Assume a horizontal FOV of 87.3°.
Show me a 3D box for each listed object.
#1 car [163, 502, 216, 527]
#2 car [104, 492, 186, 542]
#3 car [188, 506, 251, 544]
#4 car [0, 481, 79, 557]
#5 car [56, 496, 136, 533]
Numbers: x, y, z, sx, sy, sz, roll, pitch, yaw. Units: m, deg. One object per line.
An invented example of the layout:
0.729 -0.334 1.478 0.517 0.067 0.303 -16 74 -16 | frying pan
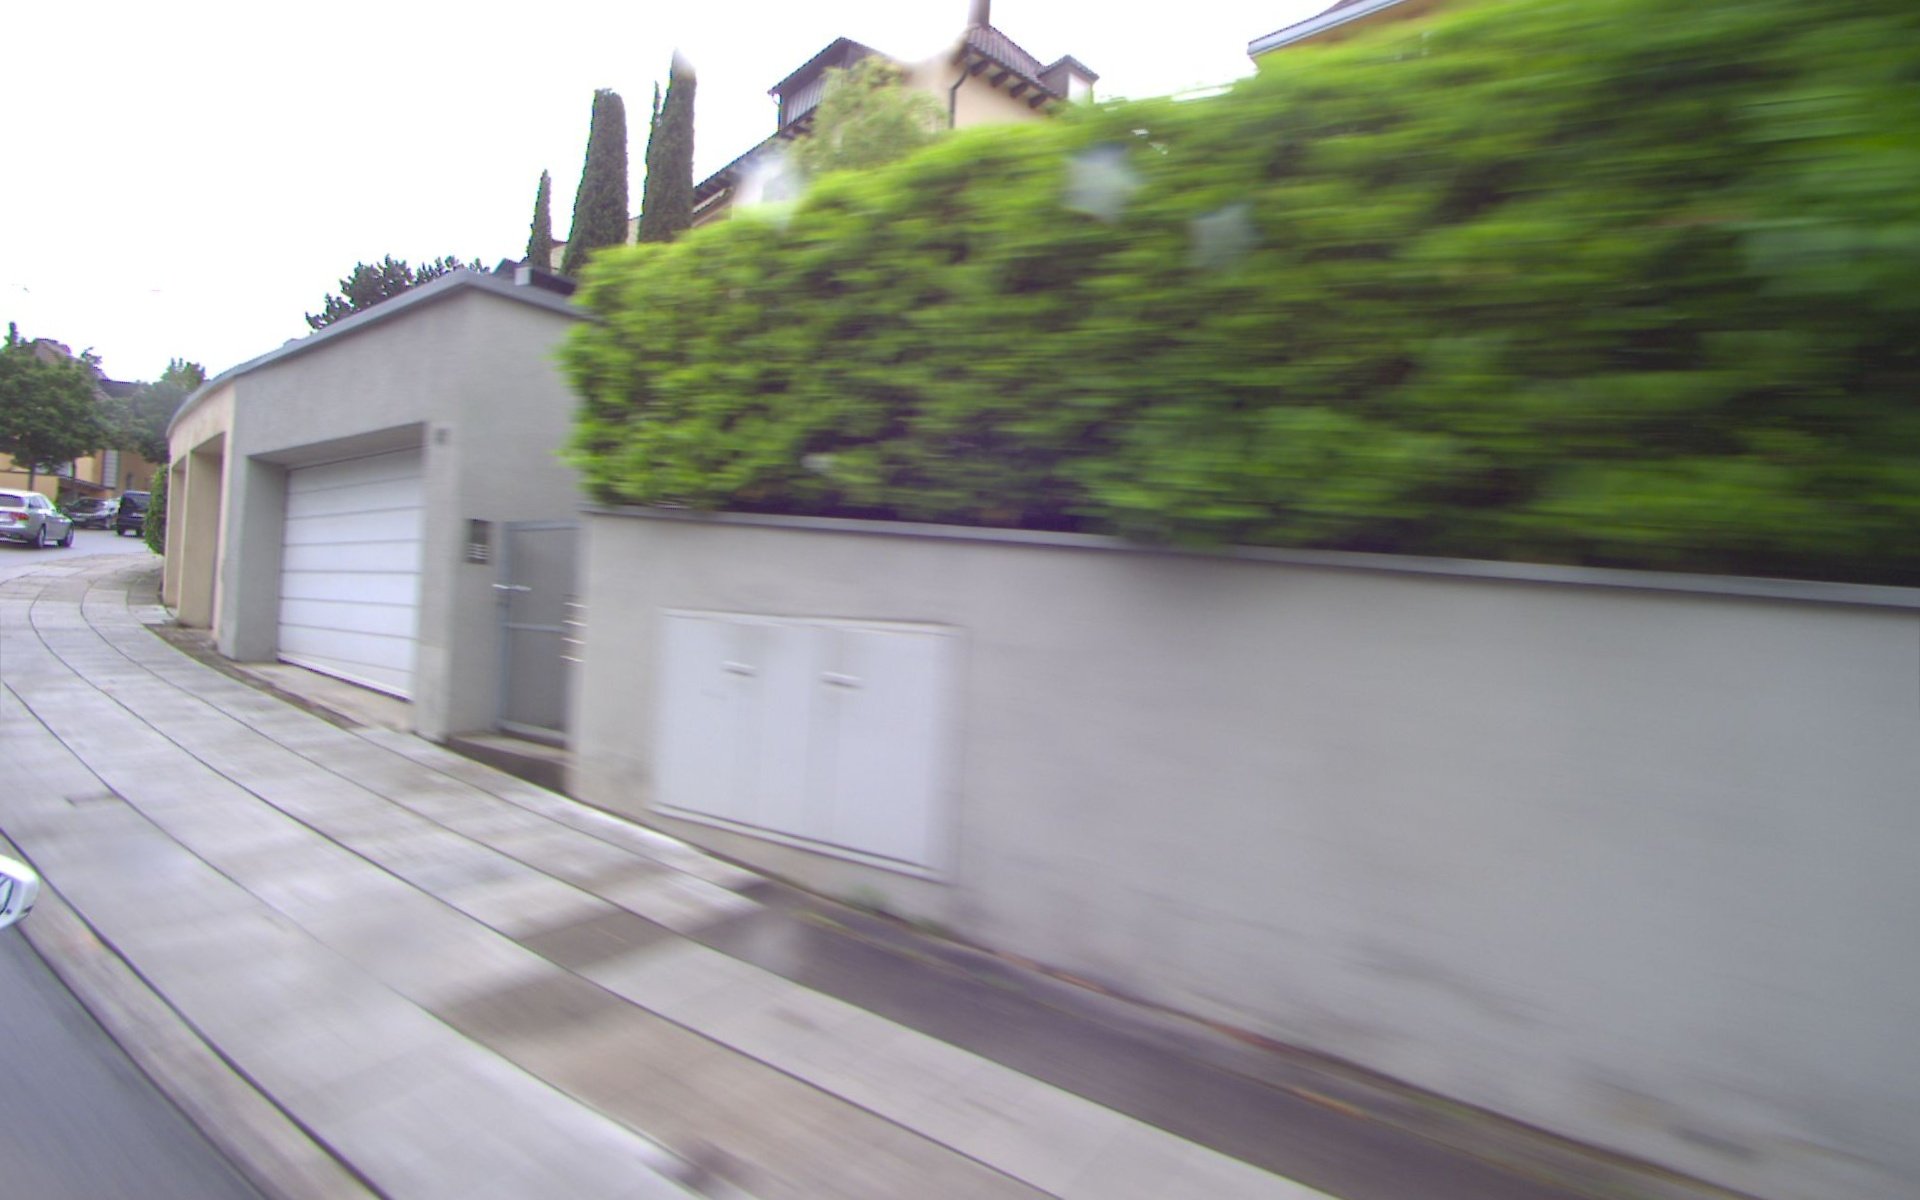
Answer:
-51.905 -5.746 67.874 1.748 1.456 4.322 3 2 -23 | car
-33.897 -3.487 41.928 1.718 1.792 4.202 6 3 -28 | car
-40.064 -4.087 54.536 1.716 1.792 4.208 6 2 -24 | car
-25.218 -2.225 26.726 1.961 1.657 4.196 6 3 -32 | car
-41.738 -4.109 48.704 1.750 1.556 4.575 2 3 -25 | car
